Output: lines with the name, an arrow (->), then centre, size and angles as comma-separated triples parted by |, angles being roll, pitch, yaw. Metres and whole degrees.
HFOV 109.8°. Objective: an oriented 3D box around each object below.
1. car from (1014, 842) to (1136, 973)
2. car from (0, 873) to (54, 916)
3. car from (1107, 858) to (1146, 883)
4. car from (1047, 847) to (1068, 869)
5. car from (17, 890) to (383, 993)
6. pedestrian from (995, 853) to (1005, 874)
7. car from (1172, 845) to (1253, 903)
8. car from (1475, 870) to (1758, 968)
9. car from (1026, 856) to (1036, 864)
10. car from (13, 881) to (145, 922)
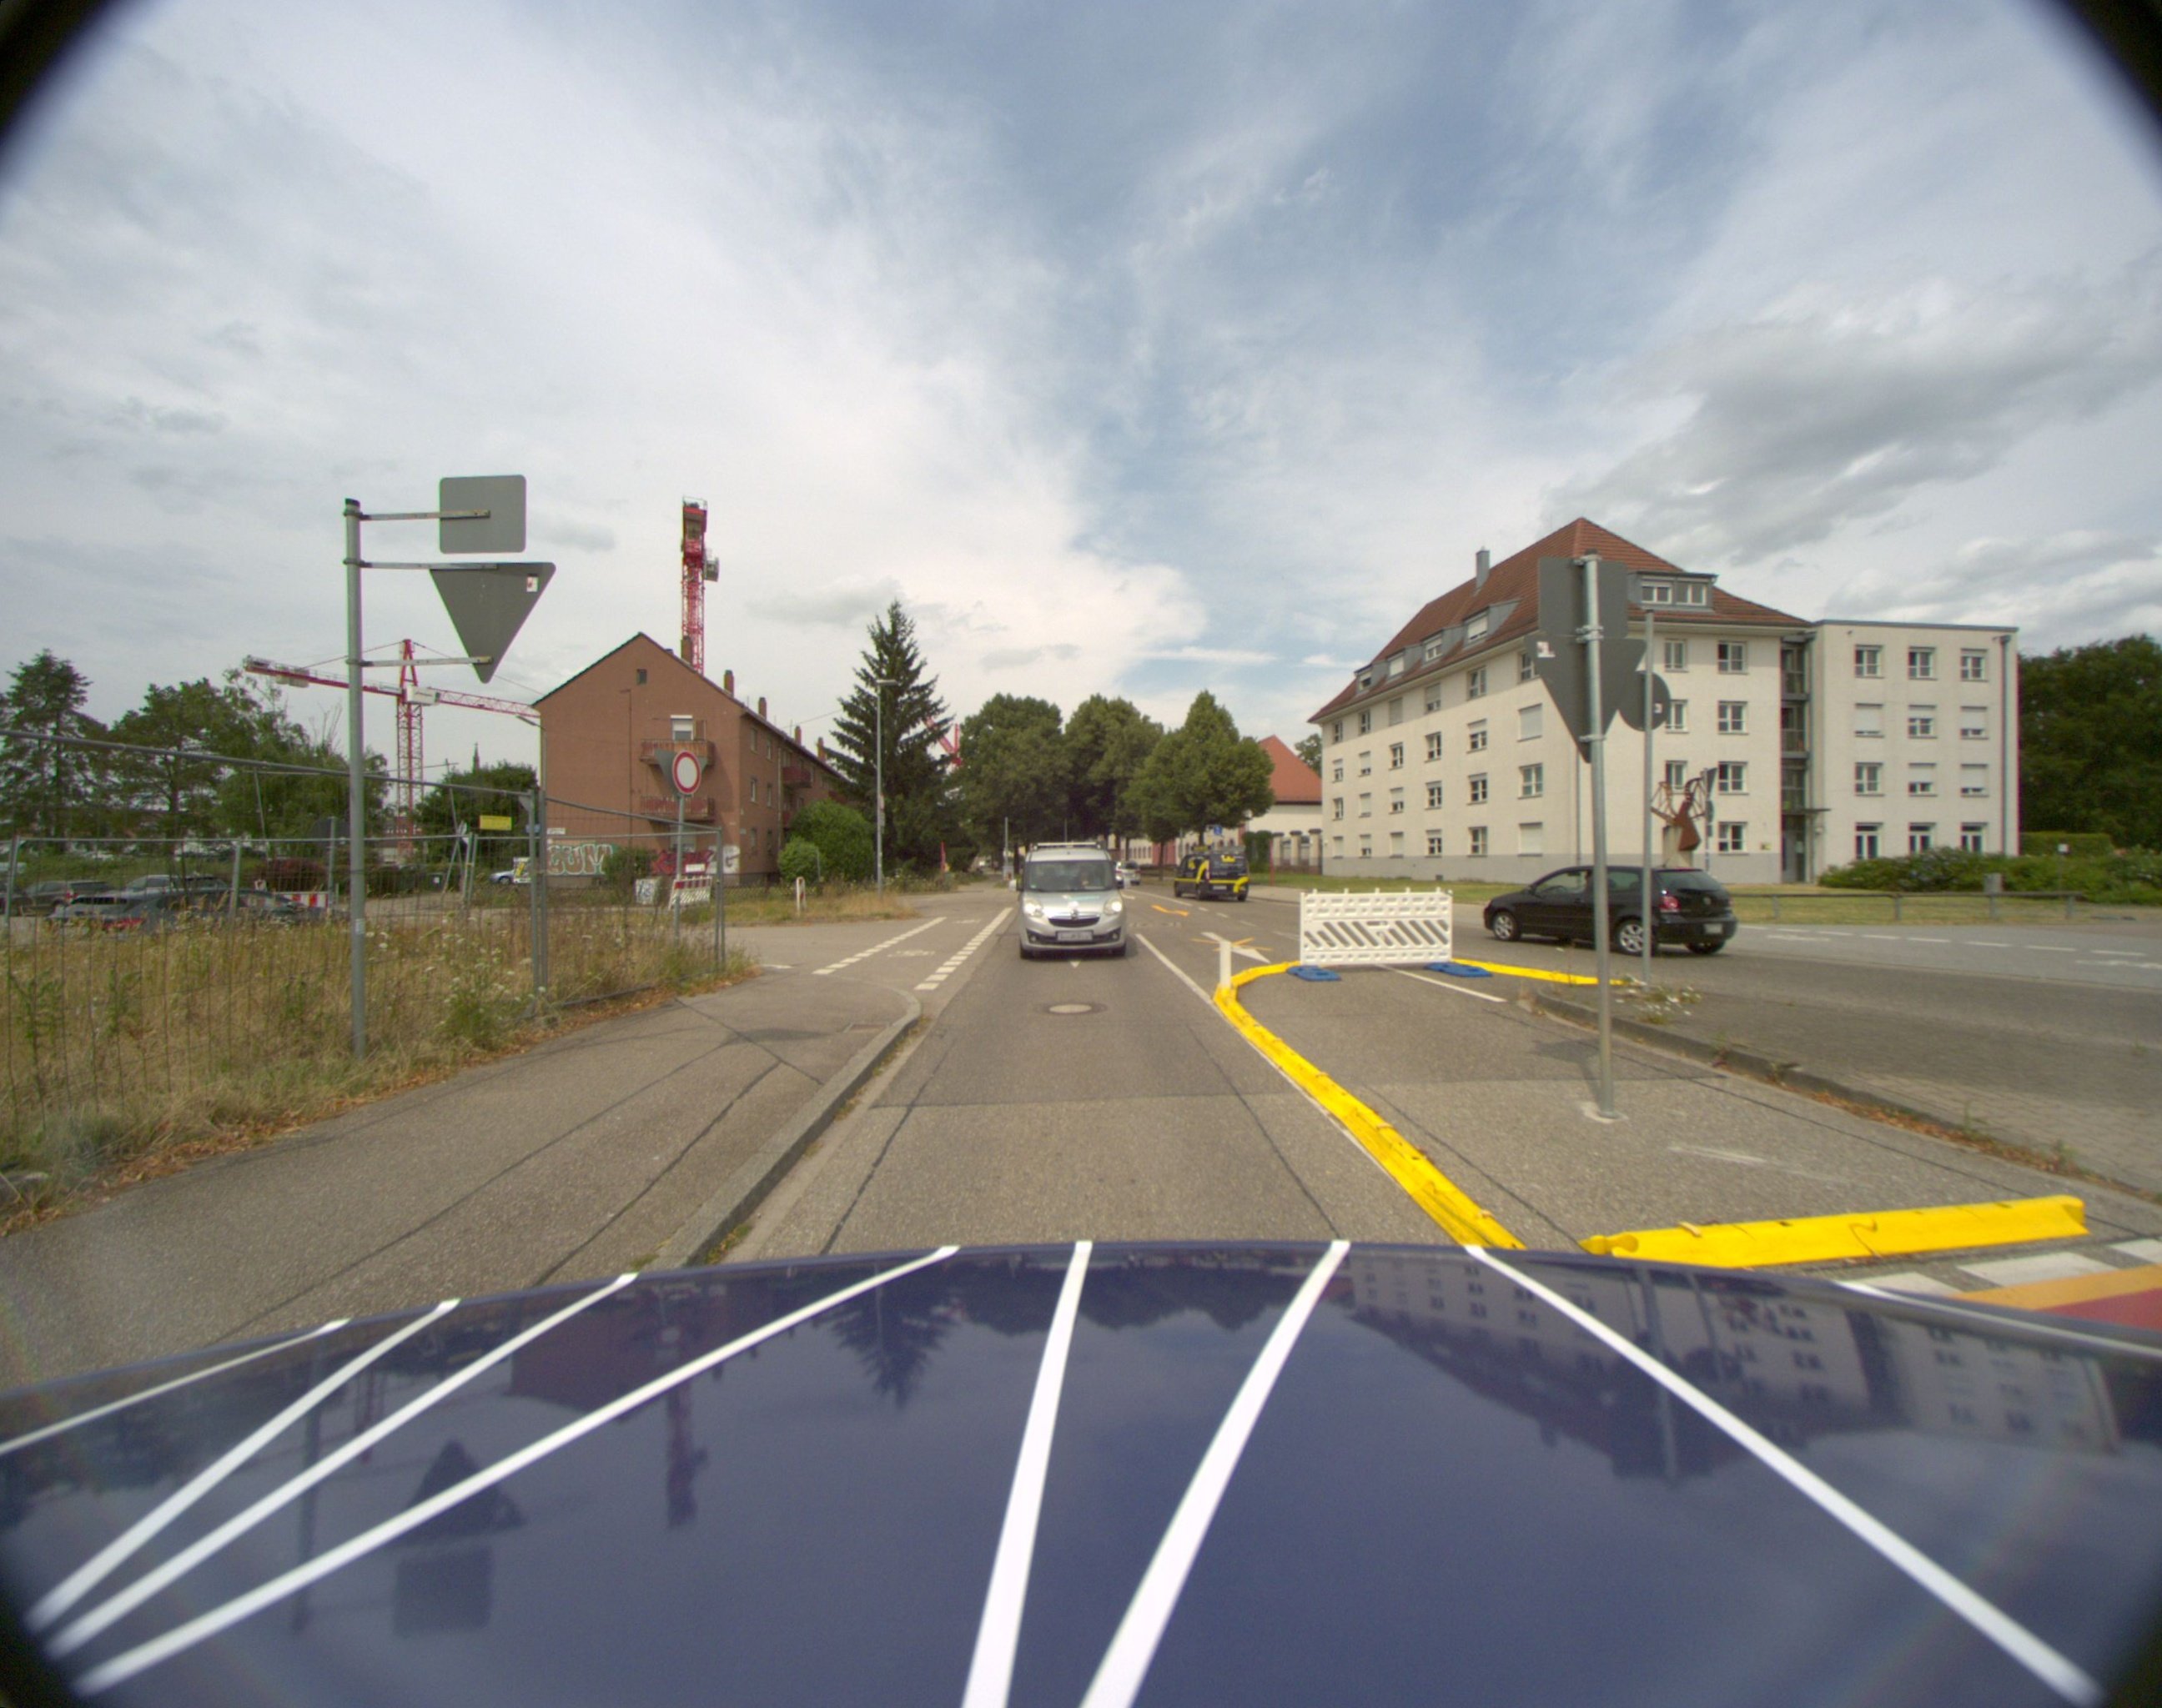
car -> -0.249, 0.802, 13.665 | 1.810, 1.936, 4.582 | -1, 0, -4
car -> -46.727, 1.736, 32.459 | 4.006, 1.739, 1.859 | -1, 0, 12
car -> 3.096, 1.139, 52.270 | 1.801, 1.613, 4.745 | -1, 0, -7
car -> -3.161, 0.518, 99.968 | 2.071, 2.670, 5.966 | -1, 0, -8
car -> -16.191, 1.514, 14.386 | 1.765, 1.465, 4.261 | -1, 0, 5
pedestrian -> -8.108, 0.955, 76.307 | 0.856, 2.002, 0.731 | -1, 0, -16
car -> 5.451, 0.808, 32.236 | 2.000, 2.259, 5.157 | -1, 0, -6
car -> 8.906, 0.994, 13.028 | 1.633, 1.406, 3.716 | 1, -1, -18
car -> -9.061, 1.074, 136.431 | 1.677, 1.402, 3.918 | -1, 0, -5
car -> -41.687, 1.952, 31.651 | 4.006, 1.593, 1.804 | -1, 0, 13
